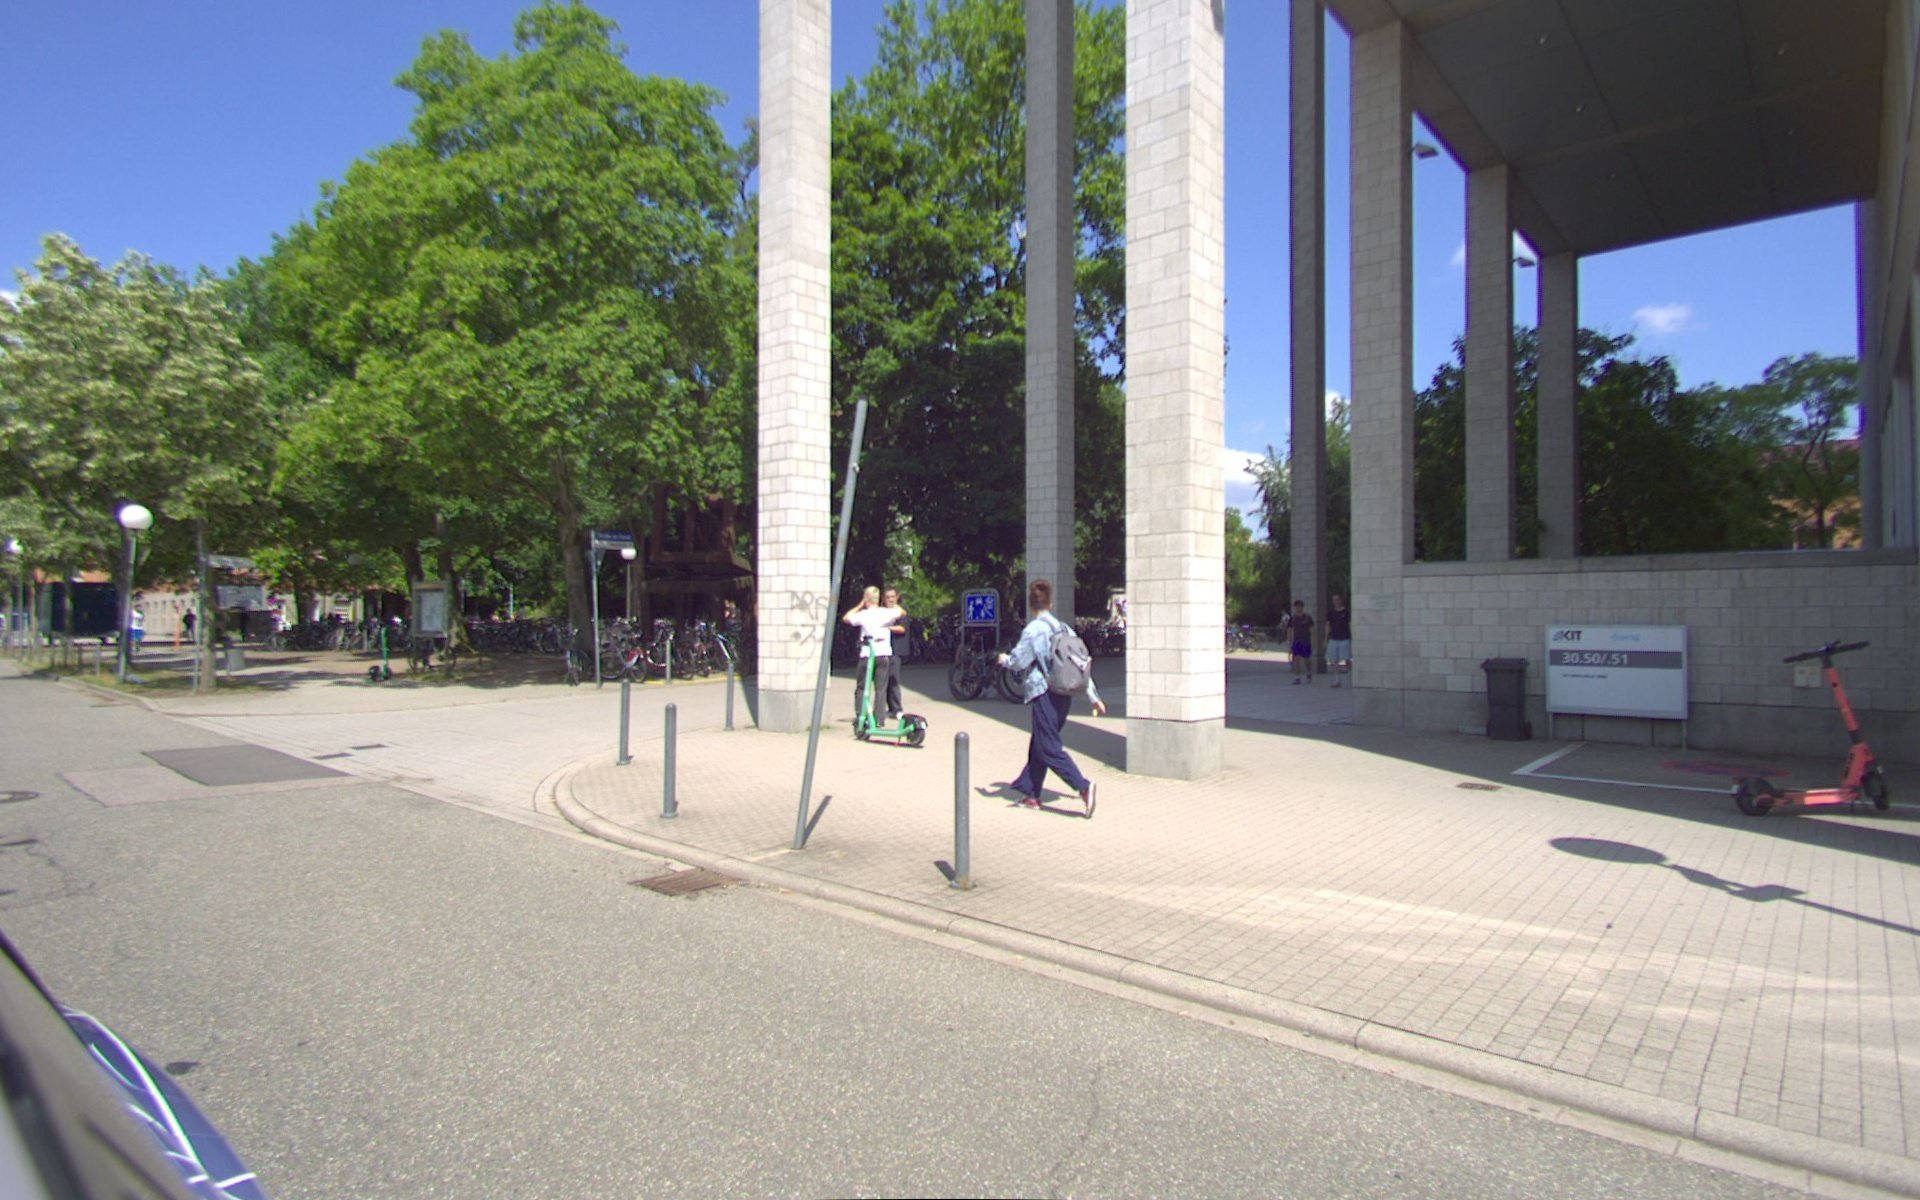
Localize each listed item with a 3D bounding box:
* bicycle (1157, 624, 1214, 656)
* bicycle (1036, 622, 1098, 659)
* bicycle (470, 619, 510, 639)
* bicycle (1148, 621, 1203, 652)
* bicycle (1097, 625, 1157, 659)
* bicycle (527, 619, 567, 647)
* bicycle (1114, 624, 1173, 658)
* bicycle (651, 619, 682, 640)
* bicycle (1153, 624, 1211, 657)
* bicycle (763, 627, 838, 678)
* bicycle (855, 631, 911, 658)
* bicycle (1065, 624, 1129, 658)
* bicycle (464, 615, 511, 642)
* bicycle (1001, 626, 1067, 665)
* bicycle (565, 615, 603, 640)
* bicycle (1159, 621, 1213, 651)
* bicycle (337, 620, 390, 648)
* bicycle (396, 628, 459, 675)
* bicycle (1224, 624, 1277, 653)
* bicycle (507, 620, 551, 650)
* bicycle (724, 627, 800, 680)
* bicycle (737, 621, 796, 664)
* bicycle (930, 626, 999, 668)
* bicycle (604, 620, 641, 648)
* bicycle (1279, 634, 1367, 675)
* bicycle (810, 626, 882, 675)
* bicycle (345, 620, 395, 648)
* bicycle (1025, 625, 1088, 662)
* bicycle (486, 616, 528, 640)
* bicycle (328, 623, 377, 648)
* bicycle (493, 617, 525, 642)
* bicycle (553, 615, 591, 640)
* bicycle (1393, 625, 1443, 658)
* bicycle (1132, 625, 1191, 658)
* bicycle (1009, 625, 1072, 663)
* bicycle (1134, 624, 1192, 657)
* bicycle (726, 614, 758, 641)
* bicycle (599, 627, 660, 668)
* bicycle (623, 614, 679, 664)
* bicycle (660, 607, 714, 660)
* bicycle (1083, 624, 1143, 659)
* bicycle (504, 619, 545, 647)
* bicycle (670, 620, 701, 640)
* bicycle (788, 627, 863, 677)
[{"bbox_3d":[8.169,1.437,36.746,1.972,1.094,0.546,-1,0,42],"label":"bicycle"},{"bbox_3d":[3.347,1.263,31.839,1.972,1.094,0.546,-1,0,42],"label":"bicycle"},{"bbox_3d":[-23.500,1.438,50.675,0.544,0.949,1.866,0,0,28],"label":"bicycle"},{"bbox_3d":[8.117,1.367,38.115,1.972,1.094,0.610,-1,0,42],"label":"bicycle"},{"bbox_3d":[5.566,1.378,33.766,1.972,1.094,0.546,-1,0,42],"label":"bicycle"},{"bbox_3d":[-17.162,1.369,42.096,0.541,1.097,1.959,-1,0,12],"label":"bicycle"},{"bbox_3d":[6.231,1.393,34.450,1.972,1.094,0.546,-1,0,42],"label":"bicycle"},{"bbox_3d":[-13.837,1.384,47.763,0.416,0.900,1.755,-1,0,21],"label":"bicycle"},{"bbox_3d":[7.883,1.430,36.016,1.972,1.094,0.546,-1,0,42],"label":"bicycle"},{"bbox_3d":[-3.666,1.169,23.139,1.972,1.094,0.546,-1,0,42],"label":"bicycle"},{"bbox_3d":[-2.217,1.284,29.140,1.542,0.768,0.322,-1,-1,9],"label":"bicycle"},{"bbox_3d":[4.445,1.324,32.976,2.128,1.076,0.492,-1,-1,41],"label":"bicycle"},{"bbox_3d":[-20.250,1.226,43.417,0.544,1.097,1.951,-1,0,25],"label":"bicycle"},{"bbox_3d":[2.134,1.300,29.290,1.972,1.094,0.546,-1,0,42],"label":"bicycle"},{"bbox_3d":[-17.691,1.278,47.693,0.592,1.099,1.946,0,0,19],"label":"bicycle"},{"bbox_3d":[8.720,1.375,39.063,1.972,1.094,0.610,-1,0,42],"label":"bicycle"},{"bbox_3d":[-25.451,1.424,43.199,0.535,1.134,1.947,-1,-1,31],"label":"bicycle"},{"bbox_3d":[-12.161,1.155,23.093,1.808,1.033,0.379,-1,-1,30],"label":"bicycle"},{"bbox_3d":[11.400,1.510,39.764,1.972,1.094,0.546,-1,0,42],"label":"bicycle"},{"bbox_3d":[-16.749,1.355,39.359,0.541,1.097,1.959,-1,0,12],"label":"bicycle"},{"bbox_3d":[-4.366,1.153,22.207,1.972,1.094,0.546,-1,0,42],"label":"bicycle"},{"bbox_3d":[-4.899,1.053,25.577,1.850,1.040,0.470,-1,-1,43],"label":"bicycle"},{"bbox_3d":[0.107,1.254,27.385,1.972,1.094,0.546,-1,0,42],"label":"bicycle"},{"bbox_3d":[-13.879,1.379,41.674,0.541,1.097,1.959,-1,0,12],"label":"bicycle"},{"bbox_3d":[8.921,1.329,24.949,1.993,0.953,0.520,-1,-1,41],"label":"bicycle"},{"bbox_3d":[-2.756,1.190,24.313,1.972,1.094,0.546,-1,0,42],"label":"bicycle"},{"bbox_3d":[-24.542,1.423,42.122,0.543,1.097,1.848,-1,0,20],"label":"bicycle"},{"bbox_3d":[2.968,1.319,31.338,1.972,1.094,0.546,-1,0,42],"label":"bicycle"},{"bbox_3d":[-22.403,1.366,50.091,0.594,1.099,1.939,0,0,28],"label":"bicycle"},{"bbox_3d":[-26.848,1.561,44.734,0.538,1.022,1.782,-2,-1,44],"label":"bicycle"},{"bbox_3d":[-21.566,1.394,48.402,0.589,1.099,1.956,0,0,3],"label":"bicycle"},{"bbox_3d":[-18.319,1.295,47.807,0.592,1.099,1.946,0,0,19],"label":"bicycle"},{"bbox_3d":[18.125,1.610,40.006,0.885,1.209,2.709,-1,-1,45],"label":"bicycle"},{"bbox_3d":[6.954,1.409,34.965,1.972,1.094,0.546,-1,0,42],"label":"bicycle"},{"bbox_3d":[2.425,1.307,30.696,1.972,1.094,0.546,-1,0,42],"label":"bicycle"},{"bbox_3d":[7.137,1.414,35.651,1.972,1.094,0.546,-1,0,42],"label":"bicycle"},{"bbox_3d":[-10.041,1.252,46.638,0.422,1.216,1.782,-1,0,25],"label":"bicycle"},{"bbox_3d":[-8.134,1.148,24.892,1.650,0.972,0.472,-1,-1,31],"label":"bicycle"},{"bbox_3d":[-8.121,1.019,26.666,0.581,1.263,2.015,-1,-2,9],"label":"bicycle"},{"bbox_3d":[-7.765,0.930,28.894,0.600,1.461,2.284,-1,-1,9],"label":"bicycle"},{"bbox_3d":[5.038,1.366,33.345,1.972,1.094,0.546,-1,0,42],"label":"bicycle"},{"bbox_3d":[-18.245,1.381,42.436,0.541,1.097,1.959,-1,0,12],"label":"bicycle"},{"bbox_3d":[-12.888,1.413,47.560,0.416,0.900,1.755,-1,0,21],"label":"bicycle"},{"bbox_3d":[-3.144,1.181,23.538,1.972,1.094,0.546,-1,0,42],"label":"bicycle"}]
